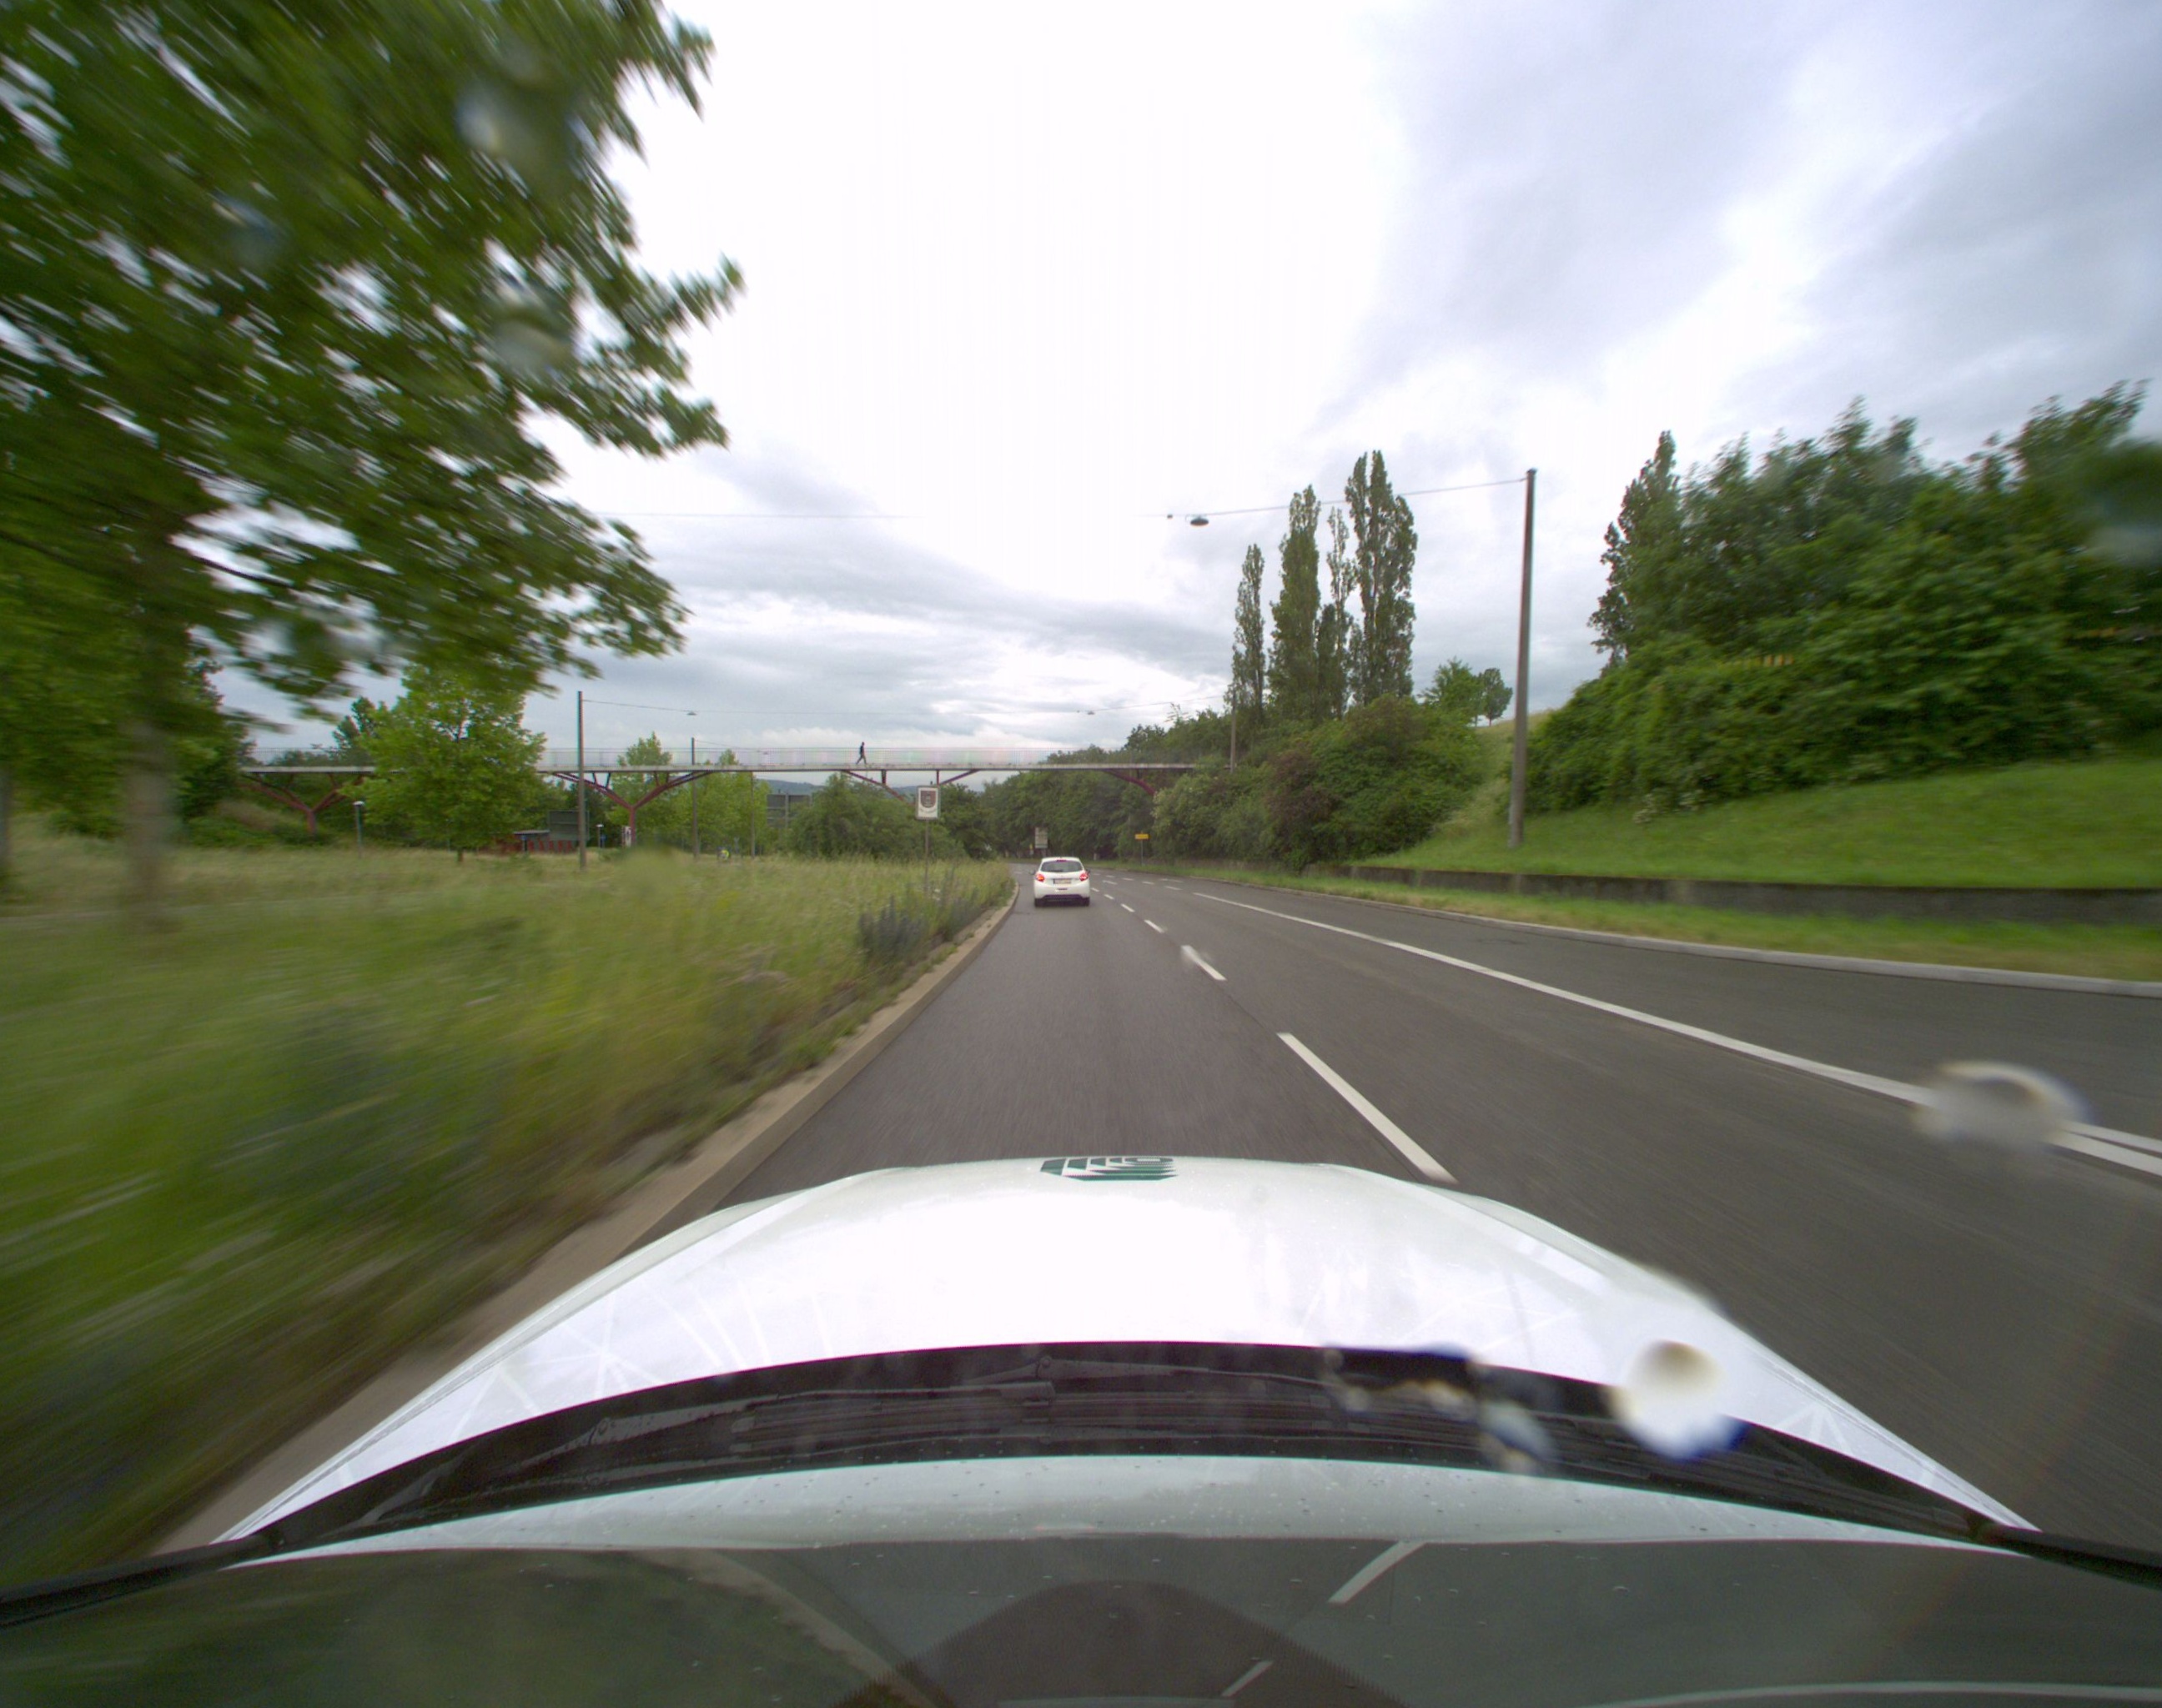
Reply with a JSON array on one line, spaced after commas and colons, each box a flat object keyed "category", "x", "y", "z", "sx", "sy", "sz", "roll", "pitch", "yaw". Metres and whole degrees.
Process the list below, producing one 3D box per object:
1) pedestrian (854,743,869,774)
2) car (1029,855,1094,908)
[{"category": "pedestrian", "x": -16.343, "y": -7.090, "z": 60.542, "sx": 0.914, "sy": 2.143, "sz": 0.729, "roll": -3, "pitch": 0, "yaw": -10}, {"category": "car", "x": -0.664, "y": 0.809, "z": 25.647, "sx": 1.864, "sy": 1.511, "sz": 3.895, "roll": 0, "pitch": 0, "yaw": -3}]
